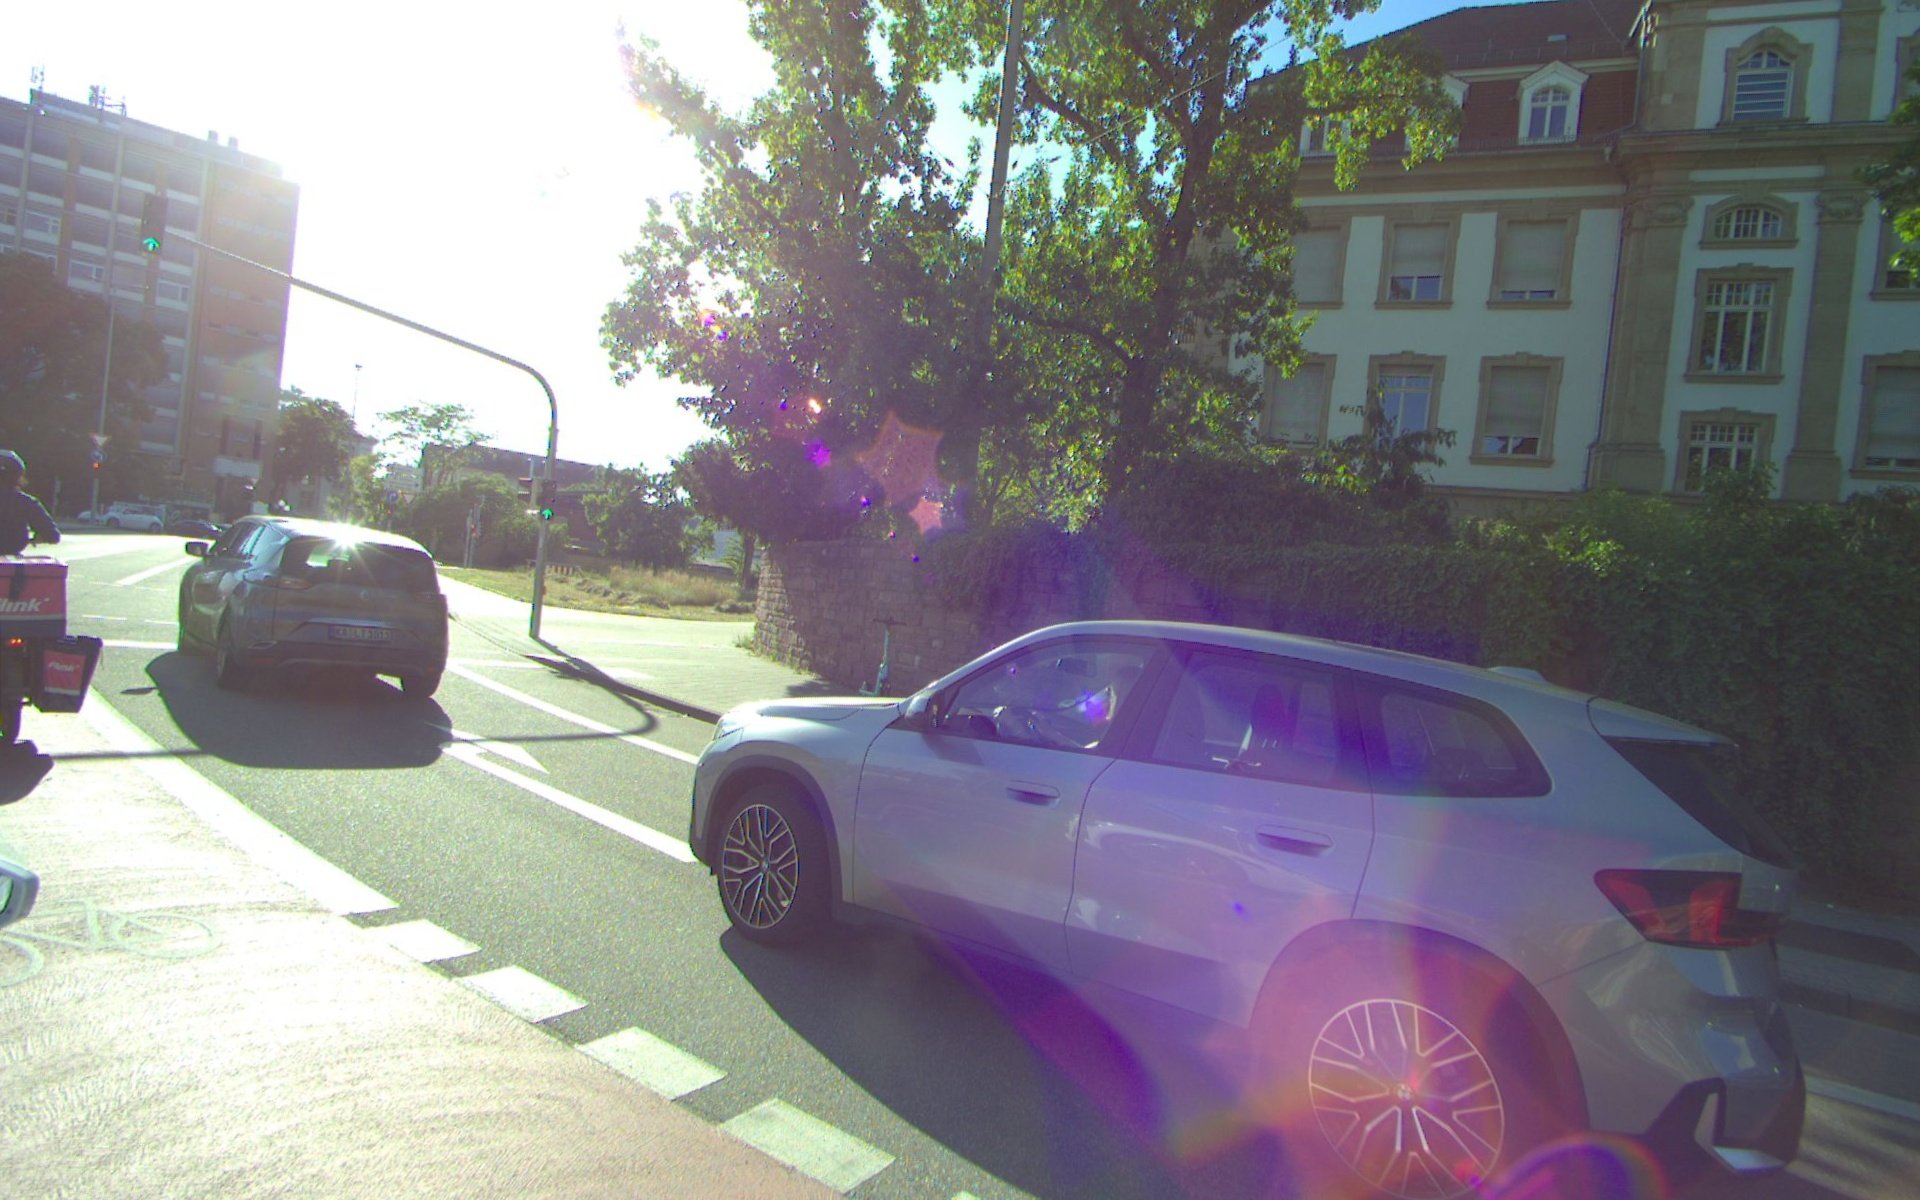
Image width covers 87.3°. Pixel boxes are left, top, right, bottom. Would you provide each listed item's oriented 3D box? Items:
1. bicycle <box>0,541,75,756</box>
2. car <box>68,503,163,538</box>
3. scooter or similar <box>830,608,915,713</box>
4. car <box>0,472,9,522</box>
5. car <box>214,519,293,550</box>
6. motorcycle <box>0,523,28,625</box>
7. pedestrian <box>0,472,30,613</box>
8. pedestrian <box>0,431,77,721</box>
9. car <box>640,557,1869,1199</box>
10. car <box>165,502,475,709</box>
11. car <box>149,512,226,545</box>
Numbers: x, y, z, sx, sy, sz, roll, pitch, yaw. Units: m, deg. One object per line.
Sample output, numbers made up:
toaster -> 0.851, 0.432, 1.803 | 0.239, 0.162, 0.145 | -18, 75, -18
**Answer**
bicycle -> -6.375, 0.219, 6.546 | 2.340, 1.185, 0.553 | 6, -2, 42
car -> -48.694, -4.568, 58.133 | 1.770, 1.549, 4.000 | 6, 0, 7
scooter or similar -> -1.236, 0.811, 13.947 | 0.569, 1.285, 1.414 | 6, 0, -27
car -> -38.020, -4.062, 38.317 | 1.897, 1.970, 4.660 | 4, 1, -36
car -> -46.706, -4.343, 66.540 | 1.781, 1.549, 3.977 | 6, 1, 43
motorcycle -> -11.642, -0.370, 11.960 | 0.611, 1.110, 2.334 | 8, -2, -40
pedestrian -> -11.581, -0.714, 11.943 | 0.585, 1.617, 1.013 | 8, -1, -41
pedestrian -> -6.747, -0.199, 6.852 | 0.943, 1.890, 0.806 | 6, -1, 40
car -> 0.782, 0.875, 4.276 | 4.263, 1.612, 1.788 | 6, -2, 37
car -> -7.017, -0.021, 10.816 | 1.827, 1.709, 4.314 | 9, -2, -44
car -> -53.842, -4.961, 70.188 | 3.959, 1.592, 1.722 | 9, -2, -31
